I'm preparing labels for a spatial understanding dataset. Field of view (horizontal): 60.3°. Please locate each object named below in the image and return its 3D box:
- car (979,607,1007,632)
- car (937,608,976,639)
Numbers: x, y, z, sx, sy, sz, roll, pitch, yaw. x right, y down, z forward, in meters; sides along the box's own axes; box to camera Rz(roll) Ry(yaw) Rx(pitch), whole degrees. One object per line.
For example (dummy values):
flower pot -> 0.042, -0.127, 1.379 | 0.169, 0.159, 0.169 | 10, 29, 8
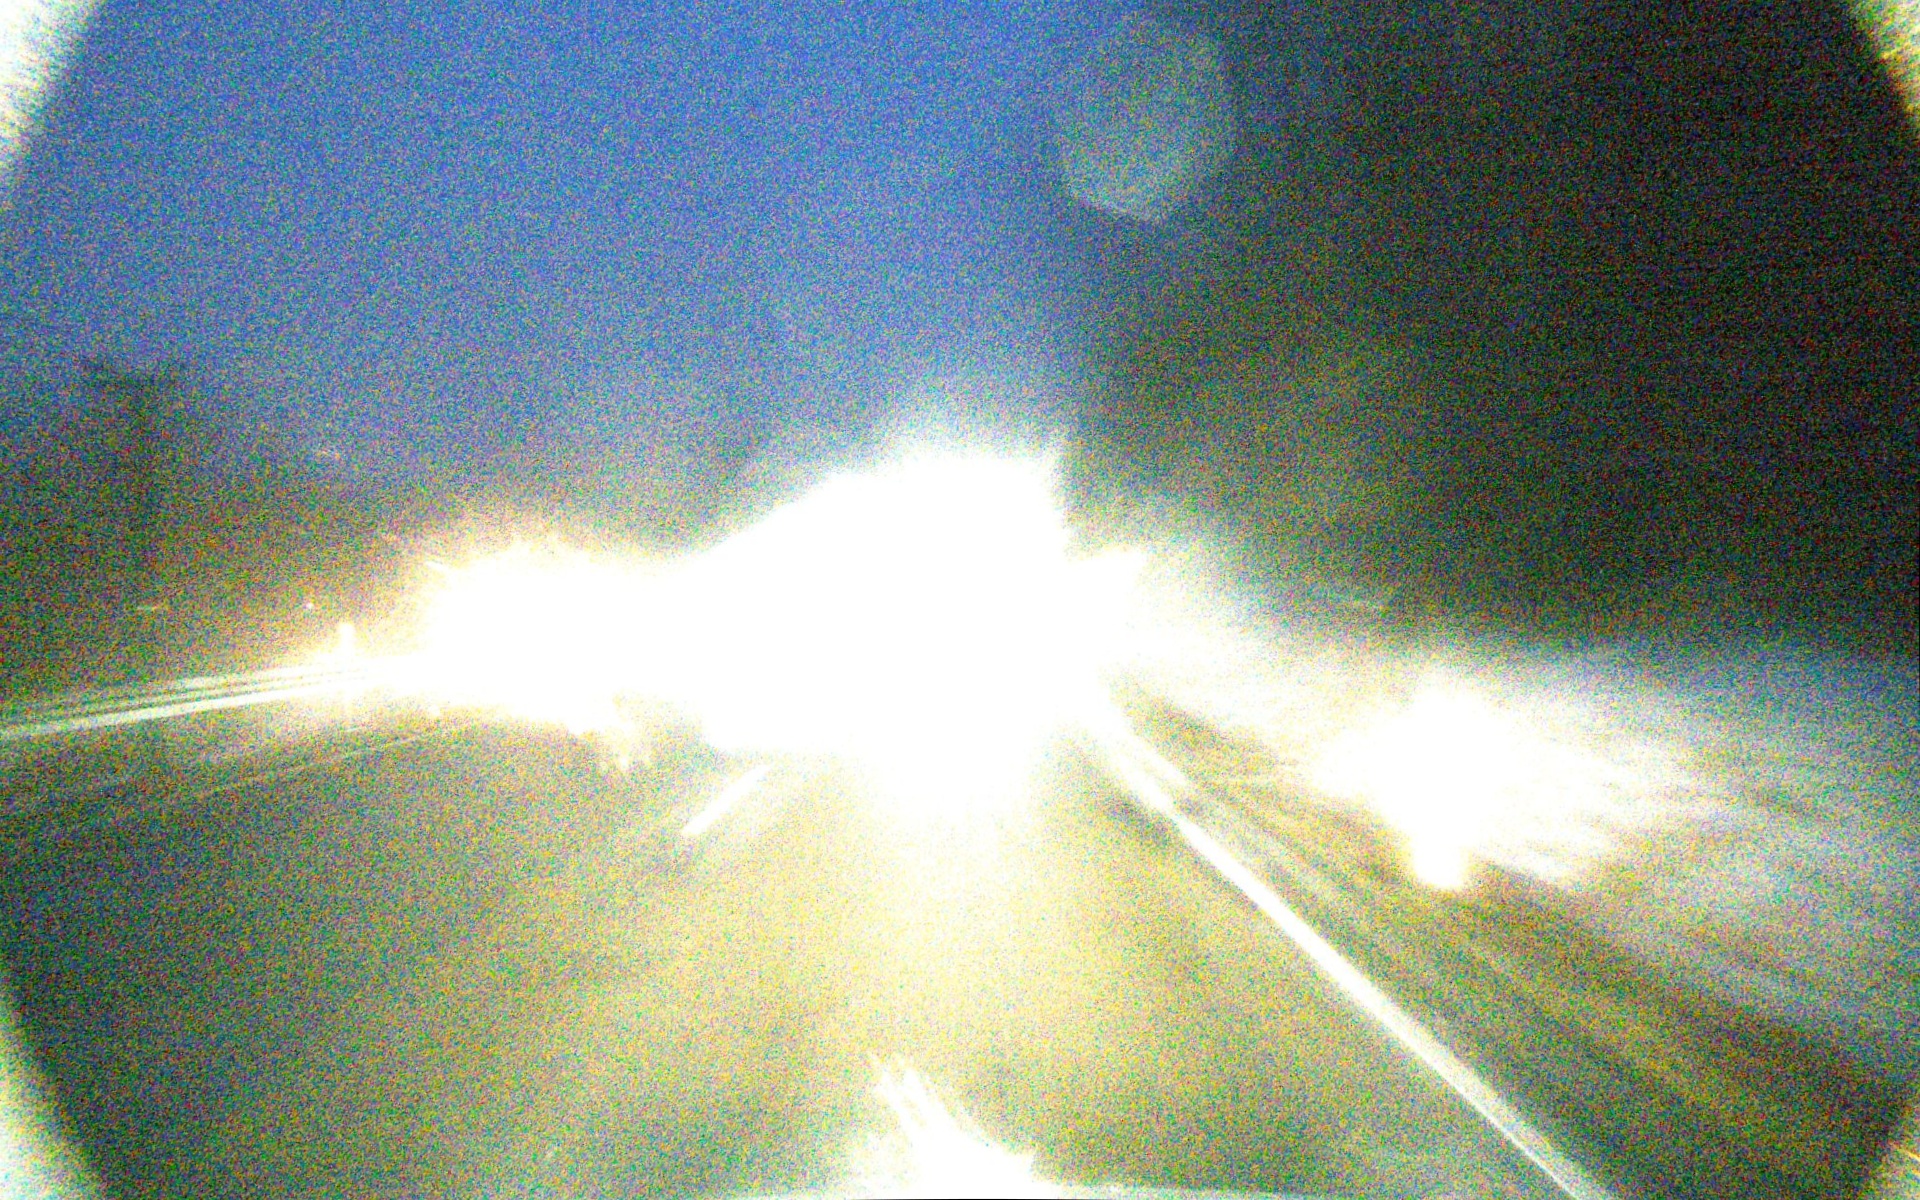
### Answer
car -> 2.399, 1.389, 118.498 | 1.743, 1.696, 4.474 | 1, 0, 4
car -> -0.127, 1.104, 79.945 | 1.704, 1.427, 3.862 | 1, 0, 2
